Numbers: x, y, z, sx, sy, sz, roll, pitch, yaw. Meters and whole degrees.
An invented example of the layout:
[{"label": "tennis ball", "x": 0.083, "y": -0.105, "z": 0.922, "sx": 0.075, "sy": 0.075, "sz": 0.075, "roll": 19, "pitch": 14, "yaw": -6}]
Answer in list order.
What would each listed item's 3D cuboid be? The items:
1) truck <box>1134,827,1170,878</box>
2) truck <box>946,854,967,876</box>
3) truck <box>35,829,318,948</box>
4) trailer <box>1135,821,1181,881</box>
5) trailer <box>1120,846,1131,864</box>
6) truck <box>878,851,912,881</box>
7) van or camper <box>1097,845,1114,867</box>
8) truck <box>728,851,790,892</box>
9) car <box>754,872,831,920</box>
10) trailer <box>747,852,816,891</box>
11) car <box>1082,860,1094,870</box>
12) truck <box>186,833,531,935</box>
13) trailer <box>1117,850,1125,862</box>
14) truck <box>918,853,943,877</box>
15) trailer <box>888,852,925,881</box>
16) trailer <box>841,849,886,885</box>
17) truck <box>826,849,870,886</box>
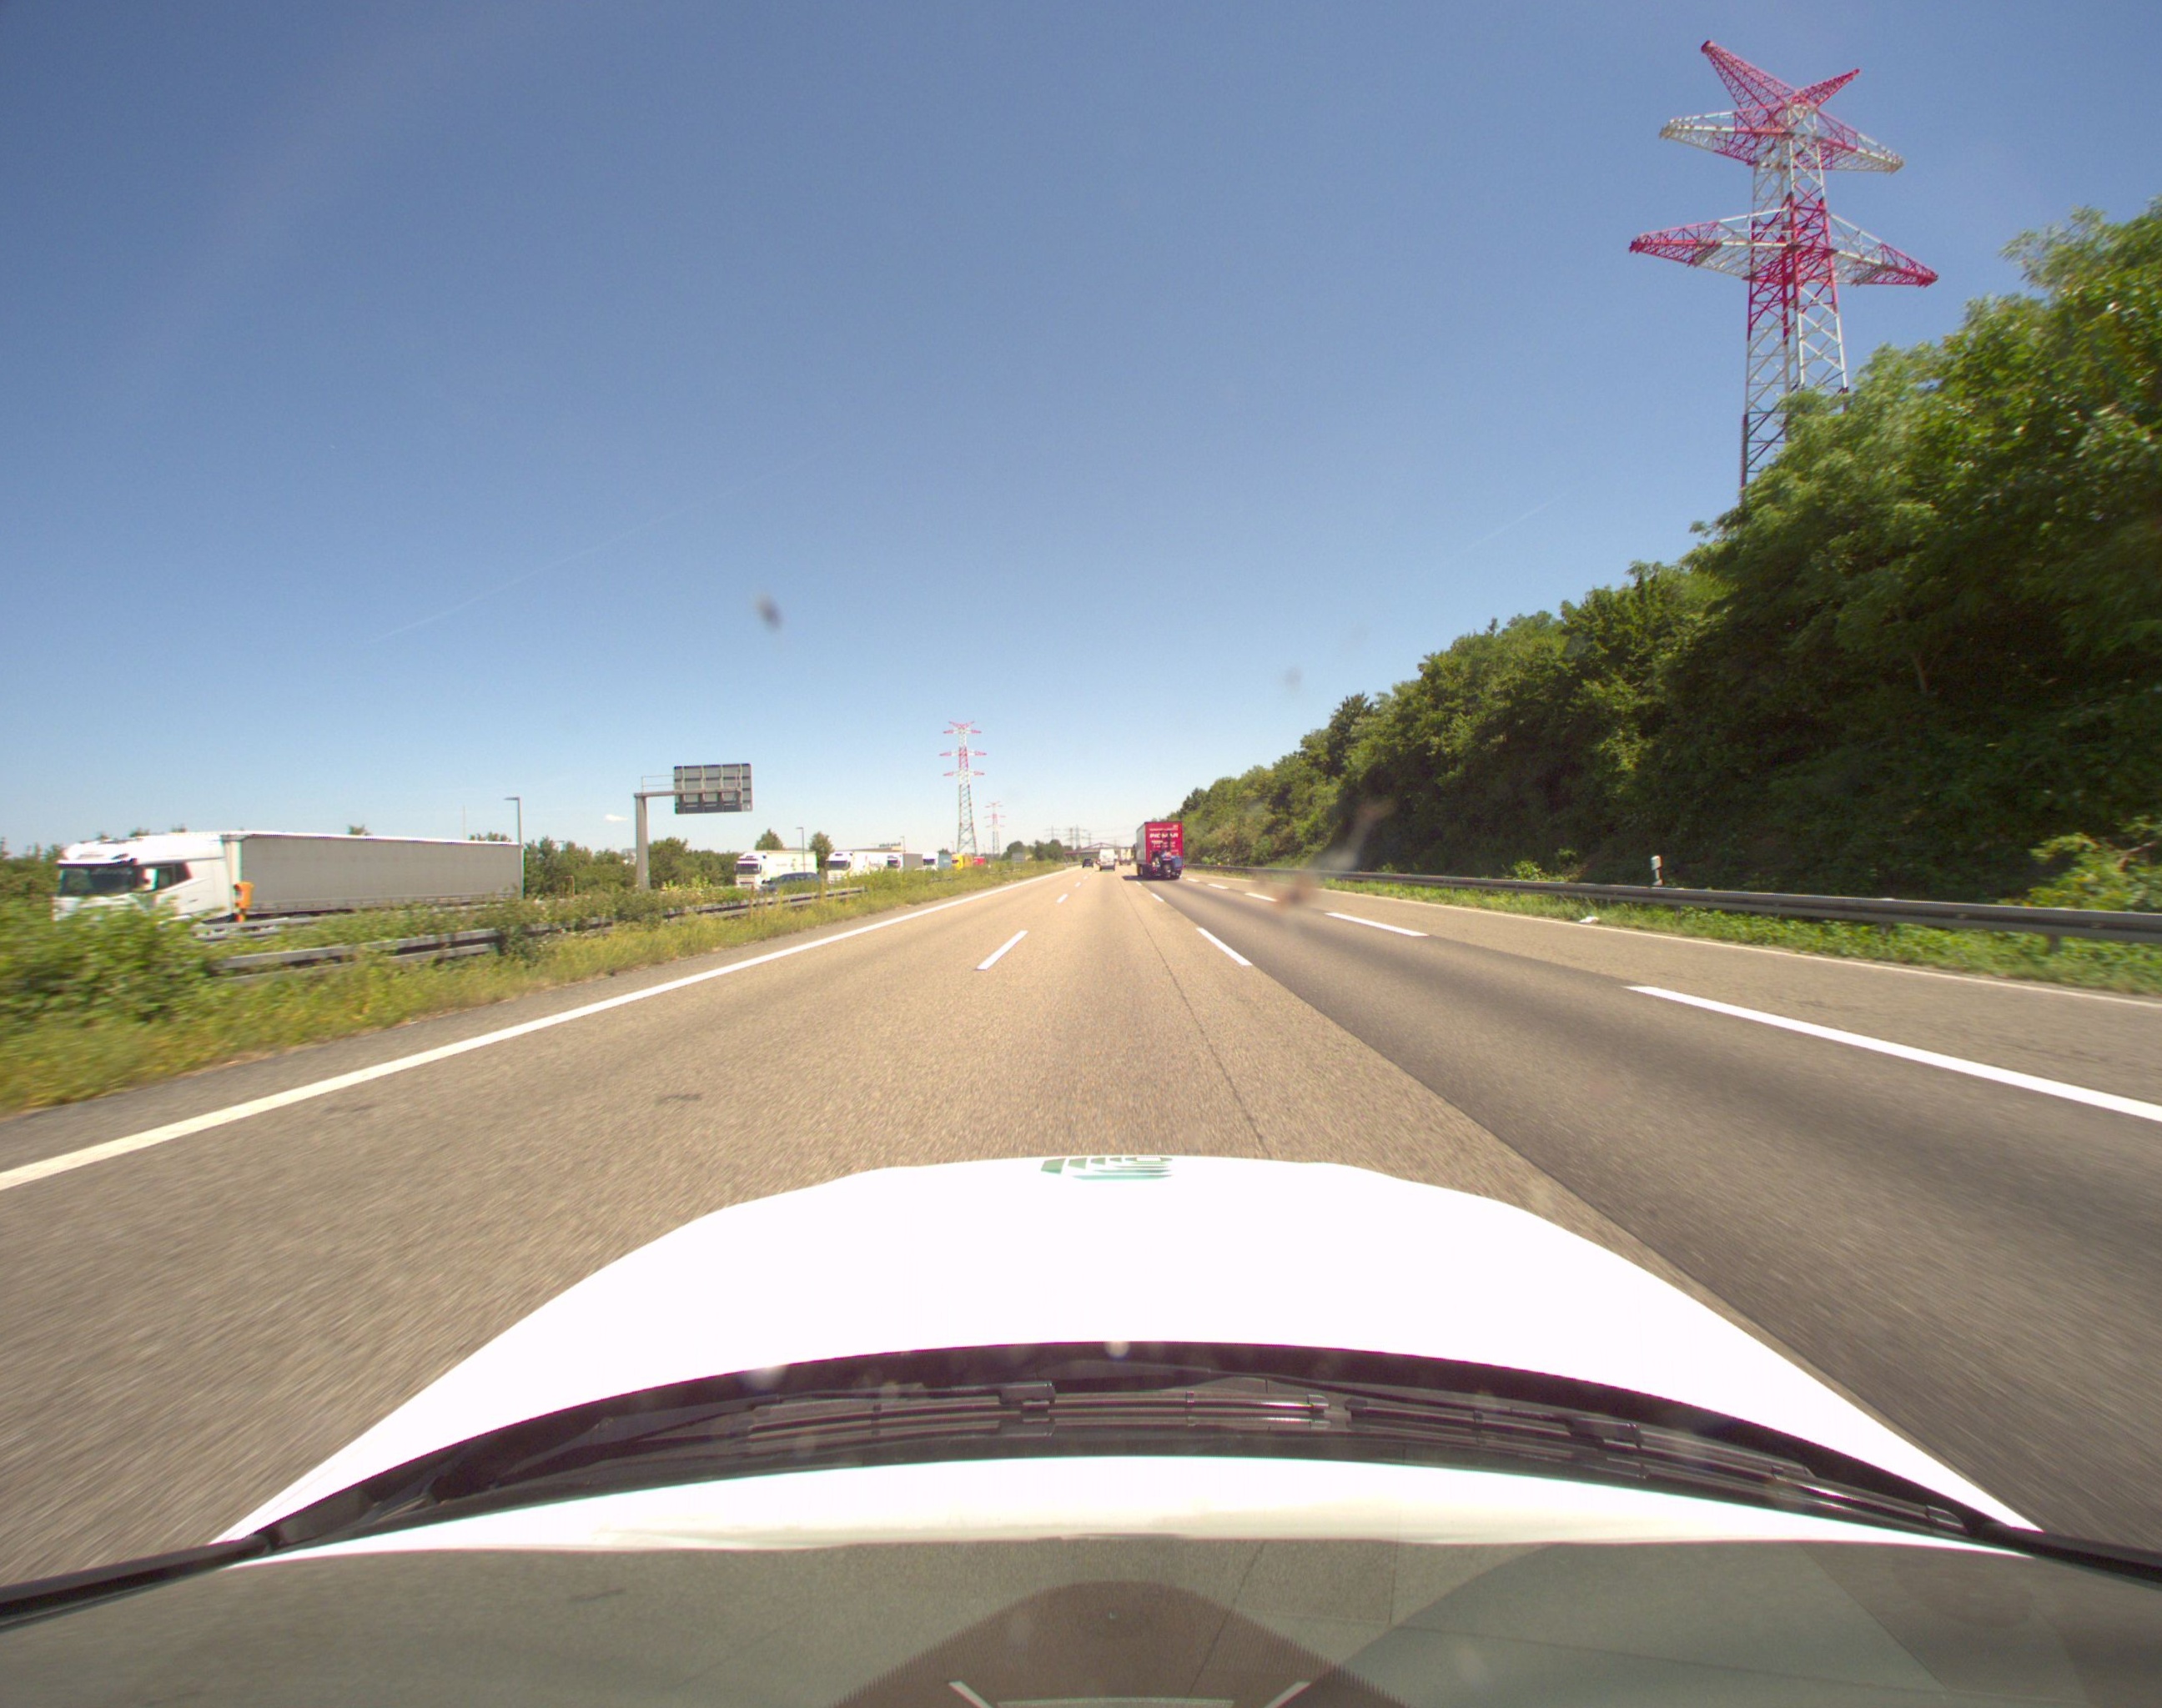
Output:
[{"label": "truck", "x": 5.814, "y": -0.076, "z": 67.881, "sx": 2.490, "sy": 3.920, "sz": 7.099, "roll": -1, "pitch": -1, "yaw": 2}, {"label": "truck", "x": -25.038, "y": 2.217, "z": 163.639, "sx": 2.823, "sy": 4.200, "sz": 7.920, "roll": 0, "pitch": -1, "yaw": 1}, {"label": "truck", "x": -30.851, "y": 1.095, "z": 28.249, "sx": 2.789, "sy": 3.643, "sz": 6.149, "roll": 0, "pitch": -1, "yaw": 2}, {"label": "trailer", "x": 5.611, "y": -0.144, "z": 61.257, "sx": 2.481, "sy": 3.909, "sz": 14.251, "roll": -1, "pitch": -1, "yaw": 2}, {"label": "trailer", "x": 10.490, "y": 0.238, "z": 192.305, "sx": 2.626, "sy": 4.060, "sz": 12.375, "roll": 0, "pitch": -1, "yaw": 3}, {"label": "truck", "x": -26.729, "y": 1.710, "z": 117.216, "sx": 3.106, "sy": 4.158, "sz": 7.504, "roll": 0, "pitch": -1, "yaw": 1}, {"label": "van or camper", "x": 3.220, "y": 0.290, "z": 105.573, "sx": 2.221, "sy": 2.782, "sz": 5.425, "roll": 0, "pitch": -1, "yaw": 2}, {"label": "truck", "x": -34.005, "y": 1.822, "z": 86.335, "sx": 3.083, "sy": 4.152, "sz": 8.319, "roll": 0, "pitch": -1, "yaw": 2}, {"label": "car", "x": -12.014, "y": 1.705, "z": 34.164, "sx": 1.747, "sy": 1.804, "sz": 3.906, "roll": 0, "pitch": -1, "yaw": 2}, {"label": "trailer", "x": -33.823, "y": 1.874, "z": 92.760, "sx": 3.082, "sy": 4.156, "sz": 12.014, "roll": 0, "pitch": -1, "yaw": 2}, {"label": "car", "x": 1.311, "y": 2.004, "z": 150.375, "sx": 1.973, "sy": 1.817, "sz": 3.817, "roll": 0, "pitch": -1, "yaw": 4}, {"label": "truck", "x": -30.598, "y": 1.145, "z": 36.100, "sx": 2.788, "sy": 3.643, "sz": 13.611, "roll": 0, "pitch": -1, "yaw": 2}, {"label": "trailer", "x": 12.646, "y": 0.638, "z": 257.361, "sx": 2.626, "sy": 3.897, "sz": 7.074, "roll": 0, "pitch": -1, "yaw": 3}, {"label": "truck", "x": -26.121, "y": 1.971, "z": 141.883, "sx": 2.839, "sy": 4.073, "sz": 7.090, "roll": 0, "pitch": -1, "yaw": 1}, {"label": "trailer", "x": -26.630, "y": 1.836, "z": 124.616, "sx": 3.102, "sy": 4.158, "sz": 11.015, "roll": 0, "pitch": -1, "yaw": 1}, {"label": "trailer", "x": -26.924, "y": 1.576, "z": 101.393, "sx": 2.589, "sy": 4.219, "sz": 10.517, "roll": 0, "pitch": -1, "yaw": 1}, {"label": "truck", "x": -27.104, "y": 1.536, "z": 94.987, "sx": 2.572, "sy": 4.188, "sz": 7.939, "roll": -1, "pitch": -1, "yaw": 2}]
